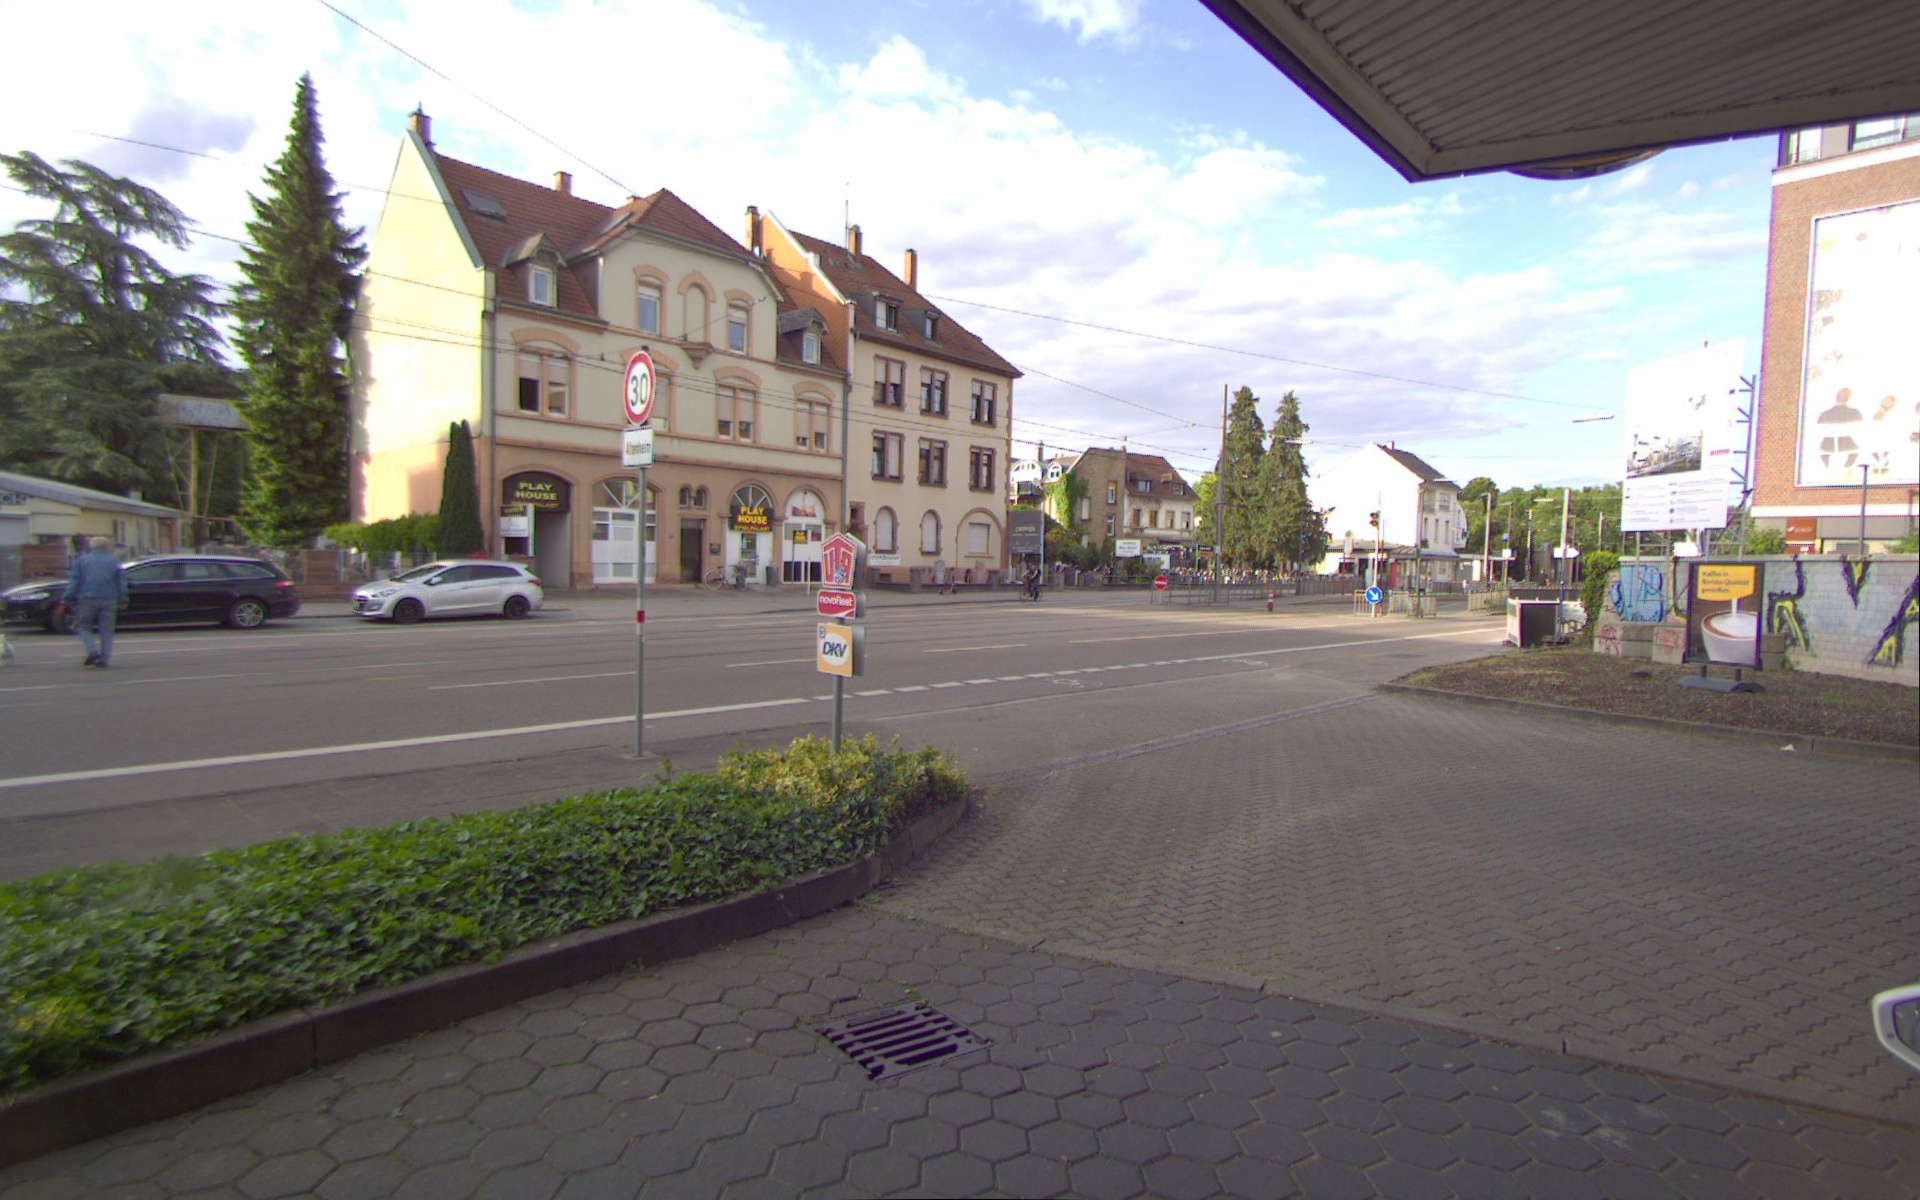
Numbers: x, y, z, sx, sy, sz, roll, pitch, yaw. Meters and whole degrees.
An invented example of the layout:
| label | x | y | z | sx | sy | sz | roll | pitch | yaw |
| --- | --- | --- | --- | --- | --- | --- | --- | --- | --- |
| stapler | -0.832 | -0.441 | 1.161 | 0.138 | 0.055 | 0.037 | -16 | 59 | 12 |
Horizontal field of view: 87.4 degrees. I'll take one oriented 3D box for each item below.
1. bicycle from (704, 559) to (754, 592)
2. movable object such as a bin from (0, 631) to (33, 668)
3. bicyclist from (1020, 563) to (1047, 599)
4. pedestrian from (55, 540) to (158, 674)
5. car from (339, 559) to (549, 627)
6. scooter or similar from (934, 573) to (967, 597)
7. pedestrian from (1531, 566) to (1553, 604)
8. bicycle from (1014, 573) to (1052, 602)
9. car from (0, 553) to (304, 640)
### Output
| label | x | y | z | sx | sy | sz | roll | pitch | yaw |
| --- | --- | --- | --- | --- | --- | --- | --- | --- | --- |
| bicycle | -9.100 | -0.947 | 39.613 | 0.665 | 1.229 | 1.862 | 4 | 2 | 41 |
| movable object such as a bin | -12.781 | 0.662 | 13.415 | 0.669 | 0.426 | 0.479 | 4 | 3 | 37 |
| bicyclist | 3.221 | -0.818 | 44.044 | 0.670 | 1.555 | 1.080 | 2 | 2 | 38 |
| pedestrian | -11.416 | 0.064 | 13.434 | 0.997 | 1.690 | 0.958 | 0 | 4 | -44 |
| car | -12.913 | -0.230 | 25.358 | 1.699 | 1.503 | 4.434 | 4 | 4 | 40 |
| scooter or similar | -0.429 | -0.654 | 45.114 | 0.461 | 1.041 | 1.655 | 4 | 3 | 40 |
| pedestrian | 31.705 | -0.827 | 54.713 | 0.797 | 2.040 | 0.845 | 2 | 0 | 44 |
| bicycle | 3.212 | -0.544 | 44.051 | 0.670 | 1.239 | 1.911 | 2 | 2 | 38 |
| car | -16.593 | -0.136 | 20.736 | 1.983 | 1.520 | 4.755 | 4 | 4 | 39 |
